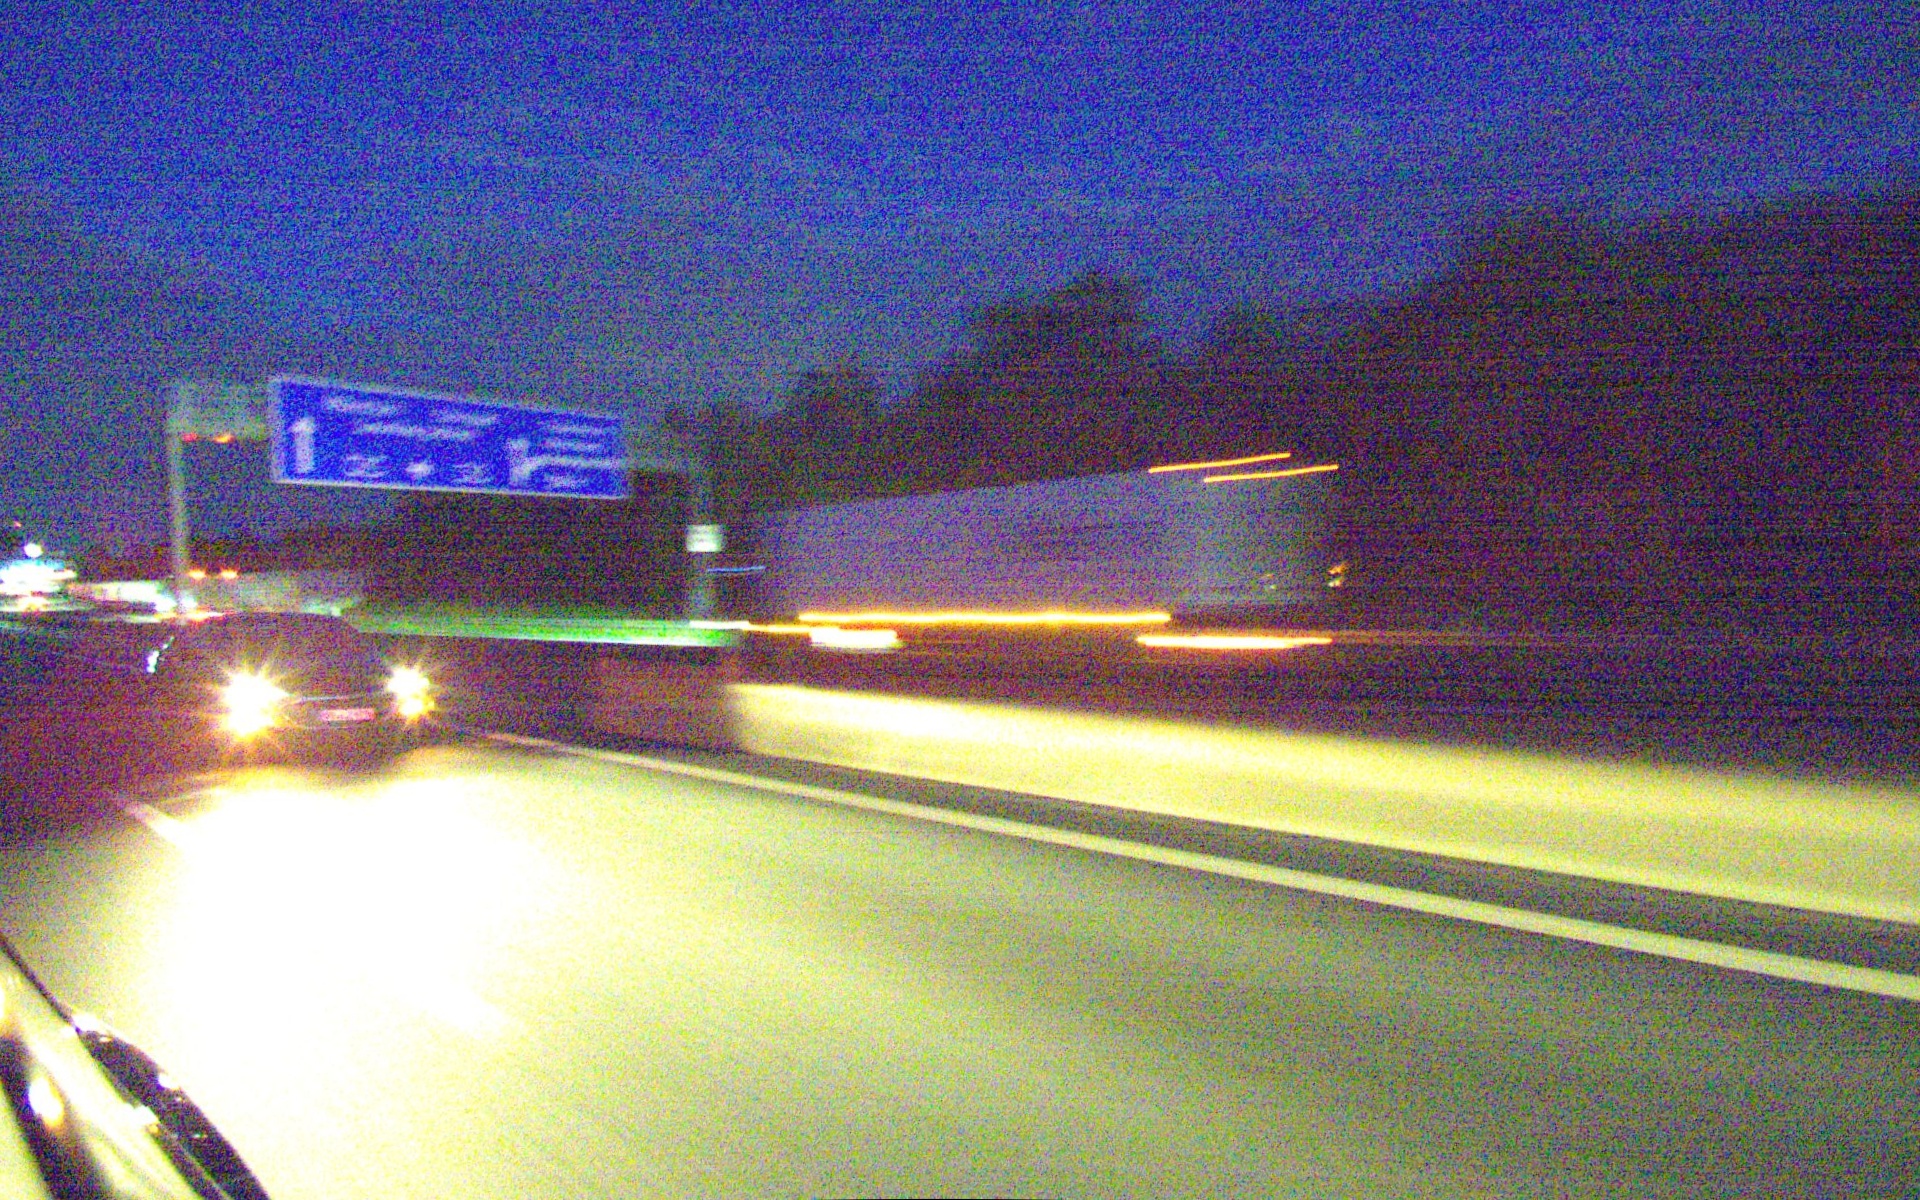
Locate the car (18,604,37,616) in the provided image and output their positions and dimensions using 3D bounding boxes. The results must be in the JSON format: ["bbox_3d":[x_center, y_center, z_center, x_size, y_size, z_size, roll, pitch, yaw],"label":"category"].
[{"bbox_3d":[-144.670,1.560,156.989,4.673,1.706,1.803,1,1,43],"label":"car"}]

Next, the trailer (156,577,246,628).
[{"bbox_3d":[-63.804,0.244,84.857,14.045,4.010,3.393,-1,0,42],"label":"trailer"}]

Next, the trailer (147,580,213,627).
[{"bbox_3d":[-69.184,0.306,89.752,7.351,4.010,3.393,-1,0,42],"label":"trailer"}]

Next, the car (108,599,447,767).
[{"bbox_3d":[-8.276,0.847,11.994,5.648,1.530,1.973,-2,-1,42],"label":"car"}]

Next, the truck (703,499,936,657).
[{"bbox_3d":[-4.123,-0.559,29.041,6.204,4.010,3.395,-1,0,41],"label":"truck"}]

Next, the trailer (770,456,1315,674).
[{"bbox_3d":[1.125,-0.604,24.482,13.804,4.010,3.394,-1,0,41],"label":"trailer"}]
